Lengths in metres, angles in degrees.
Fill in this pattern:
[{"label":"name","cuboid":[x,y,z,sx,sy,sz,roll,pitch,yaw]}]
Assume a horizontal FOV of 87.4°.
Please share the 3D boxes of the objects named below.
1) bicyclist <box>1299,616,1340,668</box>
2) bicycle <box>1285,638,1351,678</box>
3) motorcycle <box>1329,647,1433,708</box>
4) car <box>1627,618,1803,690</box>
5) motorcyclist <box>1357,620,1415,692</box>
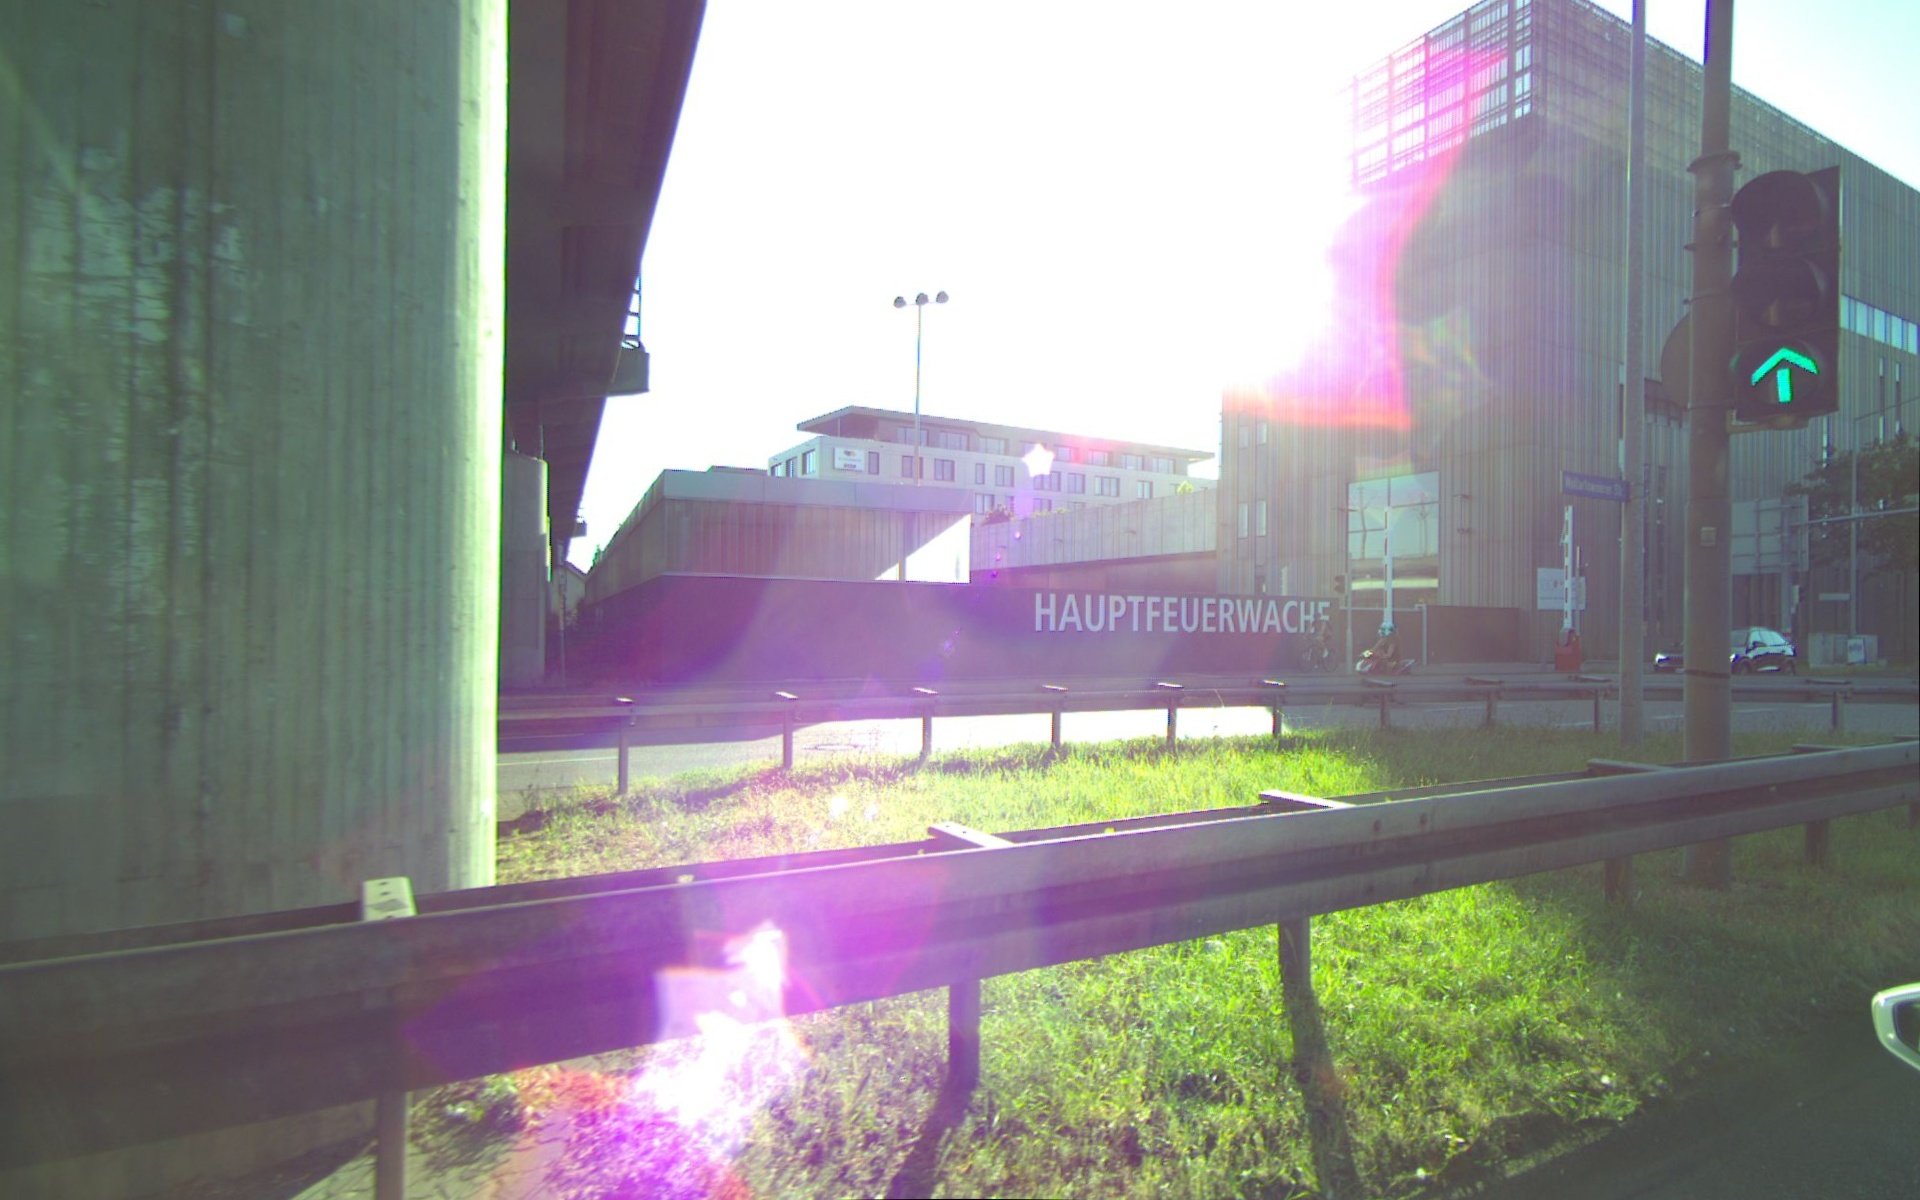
[{"label":"bicyclist","cuboid":[11.214,1.304,31.336,0.927,1.584,0.722,2,0,-25]},{"label":"bicycle","cuboid":[11.178,1.786,31.322,2.053,1.172,0.703,0,1,-26]},{"label":"motorcycle","cuboid":[8.692,1.593,20.714,2.209,1.171,0.678,2,0,-26]},{"label":"car","cuboid":[19.541,1.447,25.966,4.627,1.718,1.984,2,-5,-31]},{"label":"motorcyclist","cuboid":[8.789,1.149,20.749,0.856,1.443,0.679,2,0,-27]}]
